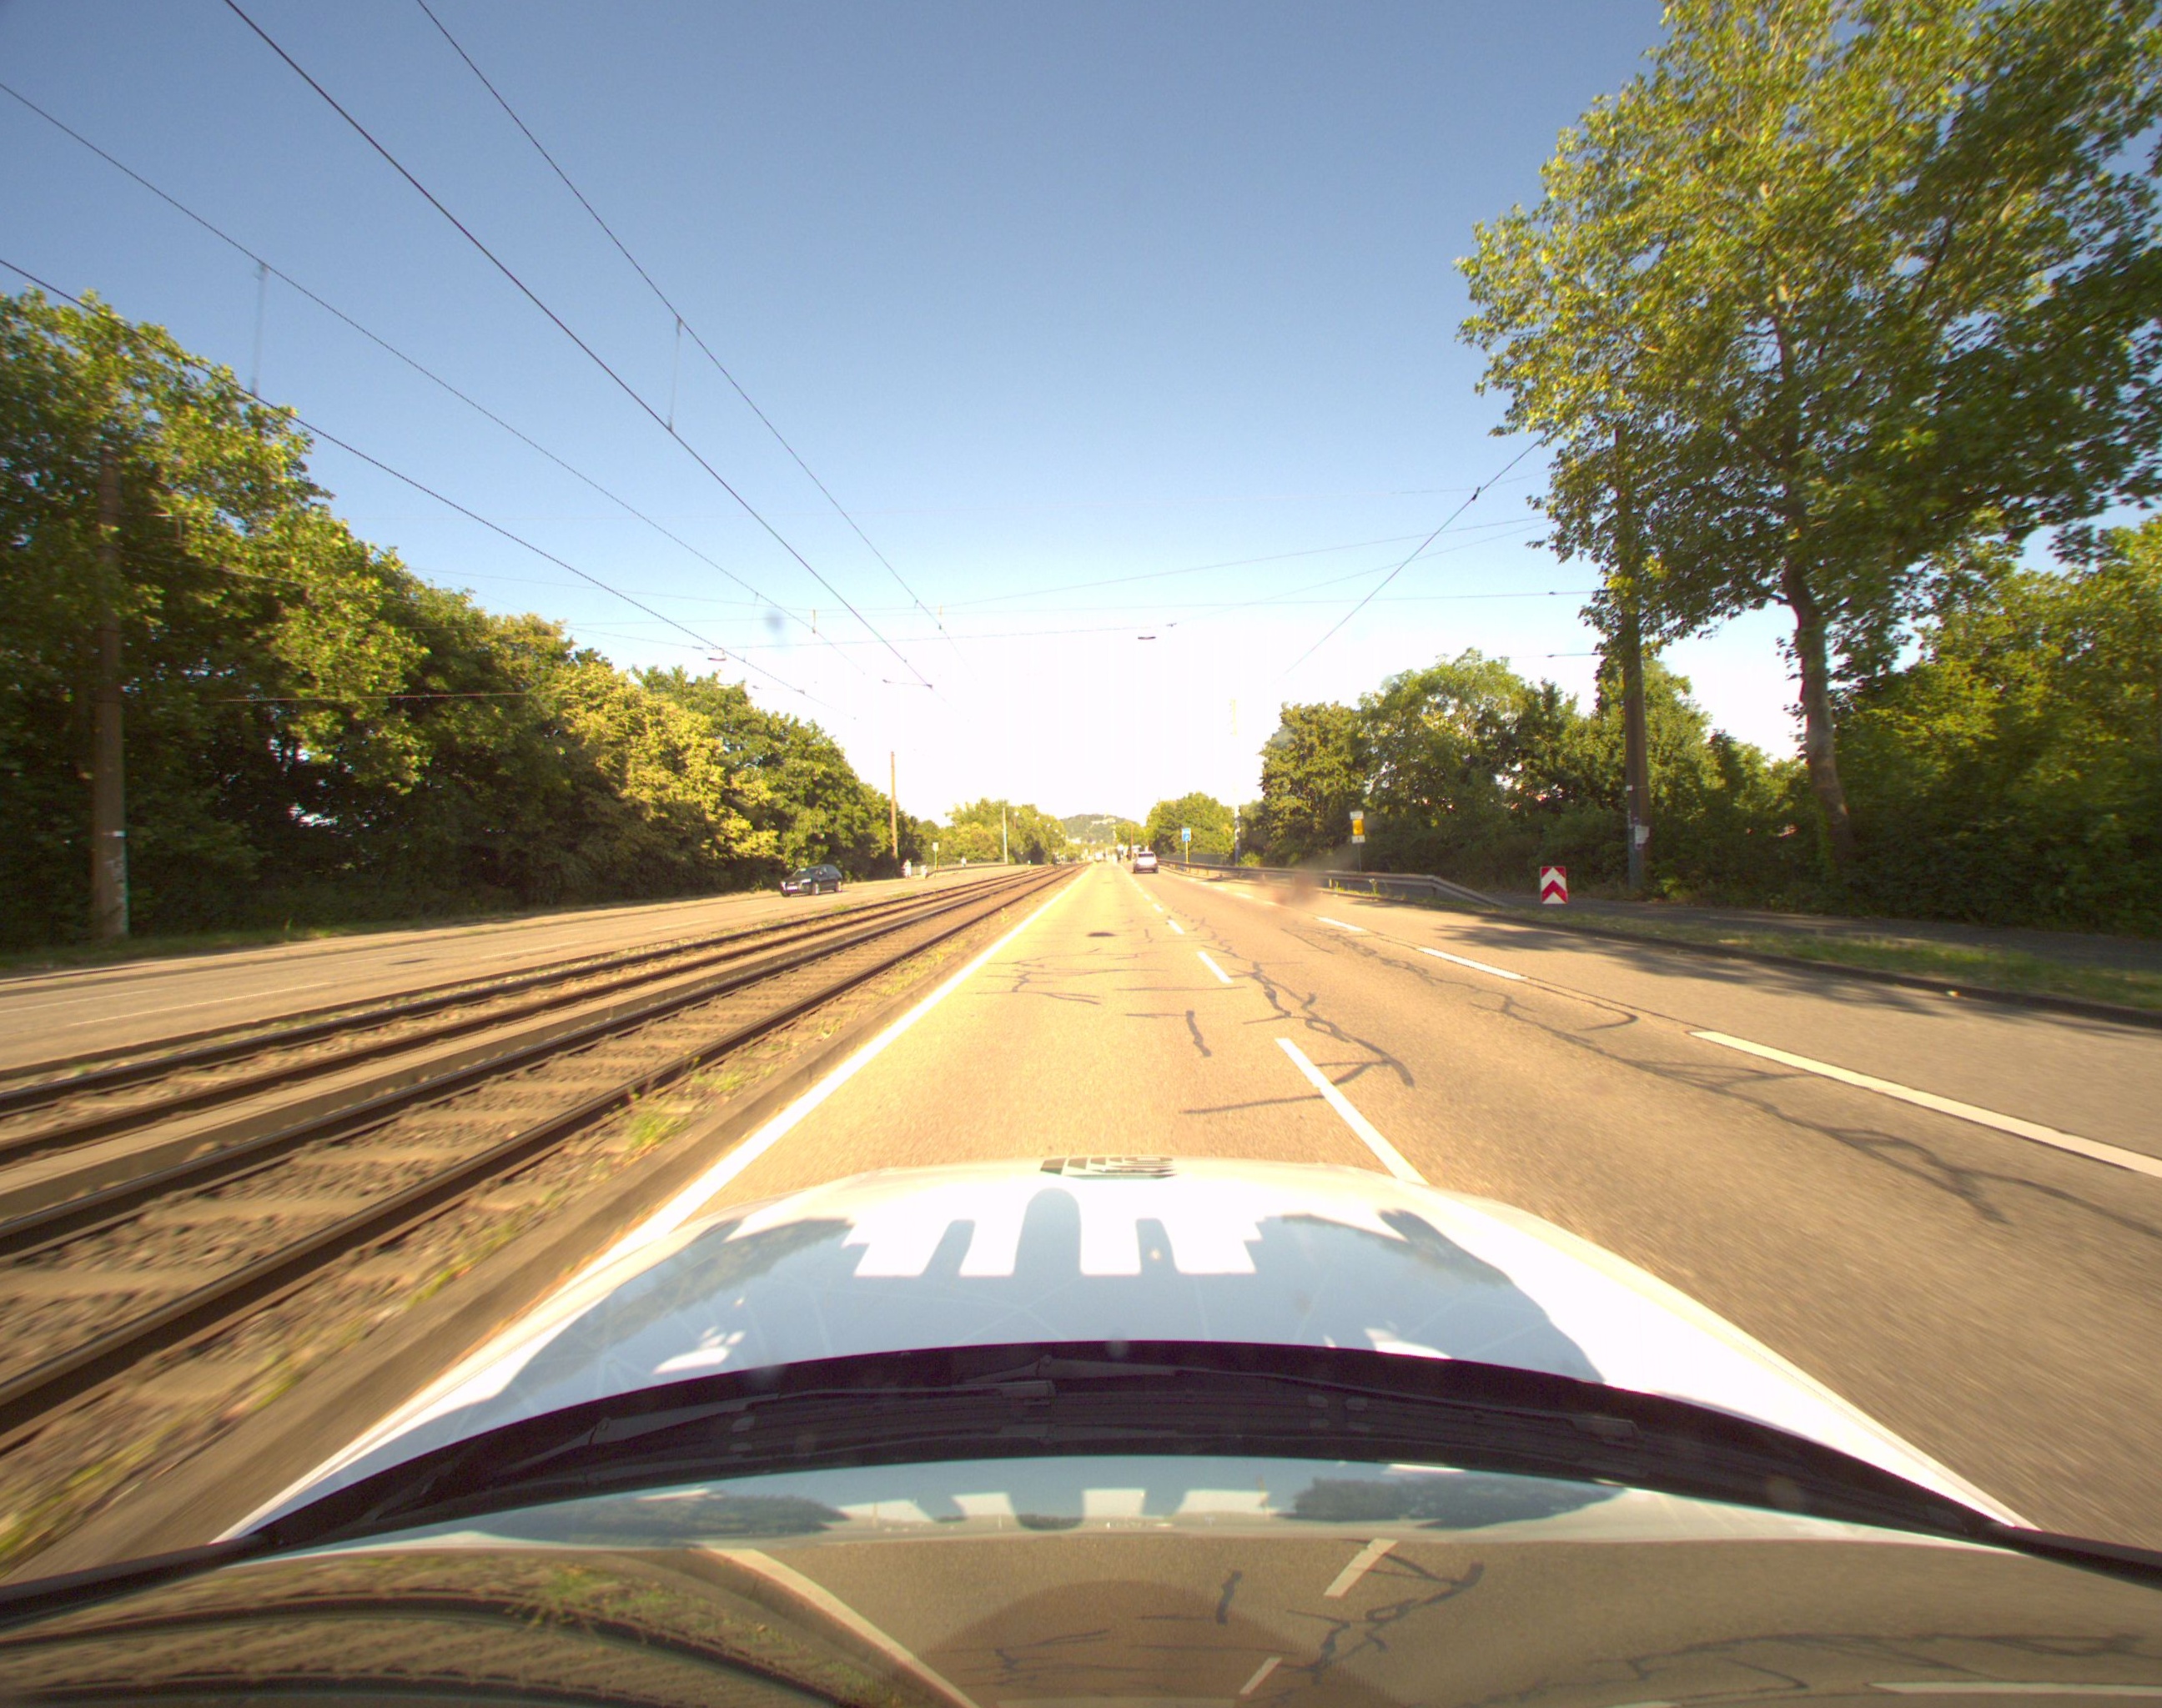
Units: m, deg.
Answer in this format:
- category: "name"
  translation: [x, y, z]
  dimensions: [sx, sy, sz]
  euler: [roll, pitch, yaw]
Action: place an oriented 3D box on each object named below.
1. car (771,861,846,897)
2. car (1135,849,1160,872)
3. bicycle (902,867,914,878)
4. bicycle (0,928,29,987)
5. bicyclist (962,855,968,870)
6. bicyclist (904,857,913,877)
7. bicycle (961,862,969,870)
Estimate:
- category: "car"
  translation: [-14.630, 1.317, 44.050]
  dimensions: [1.984, 1.685, 4.802]
  euler: [-3, 0, 5]
- category: "car"
  translation: [5.220, 0.518, 64.445]
  dimensions: [1.880, 1.693, 4.261]
  euler: [-1, 0, 4]
- category: "bicycle"
  translation: [-14.942, 1.603, 70.402]
  dimensions: [0.505, 0.892, 2.030]
  euler: [0, 0, 5]
- category: "bicycle"
  translation: [-19.223, 1.825, 13.492]
  dimensions: [0.548, 0.986, 2.242]
  euler: [0, 0, 6]
- category: "bicyclist"
  translation: [-14.211, 1.041, 99.923]
  dimensions: [0.538, 1.862, 0.876]
  euler: [0, 0, 2]
- category: "bicyclist"
  translation: [-14.947, 1.142, 70.395]
  dimensions: [0.505, 1.687, 0.920]
  euler: [0, 0, 5]
- category: "bicycle"
  translation: [-14.215, 1.469, 99.835]
  dimensions: [0.538, 1.043, 1.926]
  euler: [0, 0, 2]
